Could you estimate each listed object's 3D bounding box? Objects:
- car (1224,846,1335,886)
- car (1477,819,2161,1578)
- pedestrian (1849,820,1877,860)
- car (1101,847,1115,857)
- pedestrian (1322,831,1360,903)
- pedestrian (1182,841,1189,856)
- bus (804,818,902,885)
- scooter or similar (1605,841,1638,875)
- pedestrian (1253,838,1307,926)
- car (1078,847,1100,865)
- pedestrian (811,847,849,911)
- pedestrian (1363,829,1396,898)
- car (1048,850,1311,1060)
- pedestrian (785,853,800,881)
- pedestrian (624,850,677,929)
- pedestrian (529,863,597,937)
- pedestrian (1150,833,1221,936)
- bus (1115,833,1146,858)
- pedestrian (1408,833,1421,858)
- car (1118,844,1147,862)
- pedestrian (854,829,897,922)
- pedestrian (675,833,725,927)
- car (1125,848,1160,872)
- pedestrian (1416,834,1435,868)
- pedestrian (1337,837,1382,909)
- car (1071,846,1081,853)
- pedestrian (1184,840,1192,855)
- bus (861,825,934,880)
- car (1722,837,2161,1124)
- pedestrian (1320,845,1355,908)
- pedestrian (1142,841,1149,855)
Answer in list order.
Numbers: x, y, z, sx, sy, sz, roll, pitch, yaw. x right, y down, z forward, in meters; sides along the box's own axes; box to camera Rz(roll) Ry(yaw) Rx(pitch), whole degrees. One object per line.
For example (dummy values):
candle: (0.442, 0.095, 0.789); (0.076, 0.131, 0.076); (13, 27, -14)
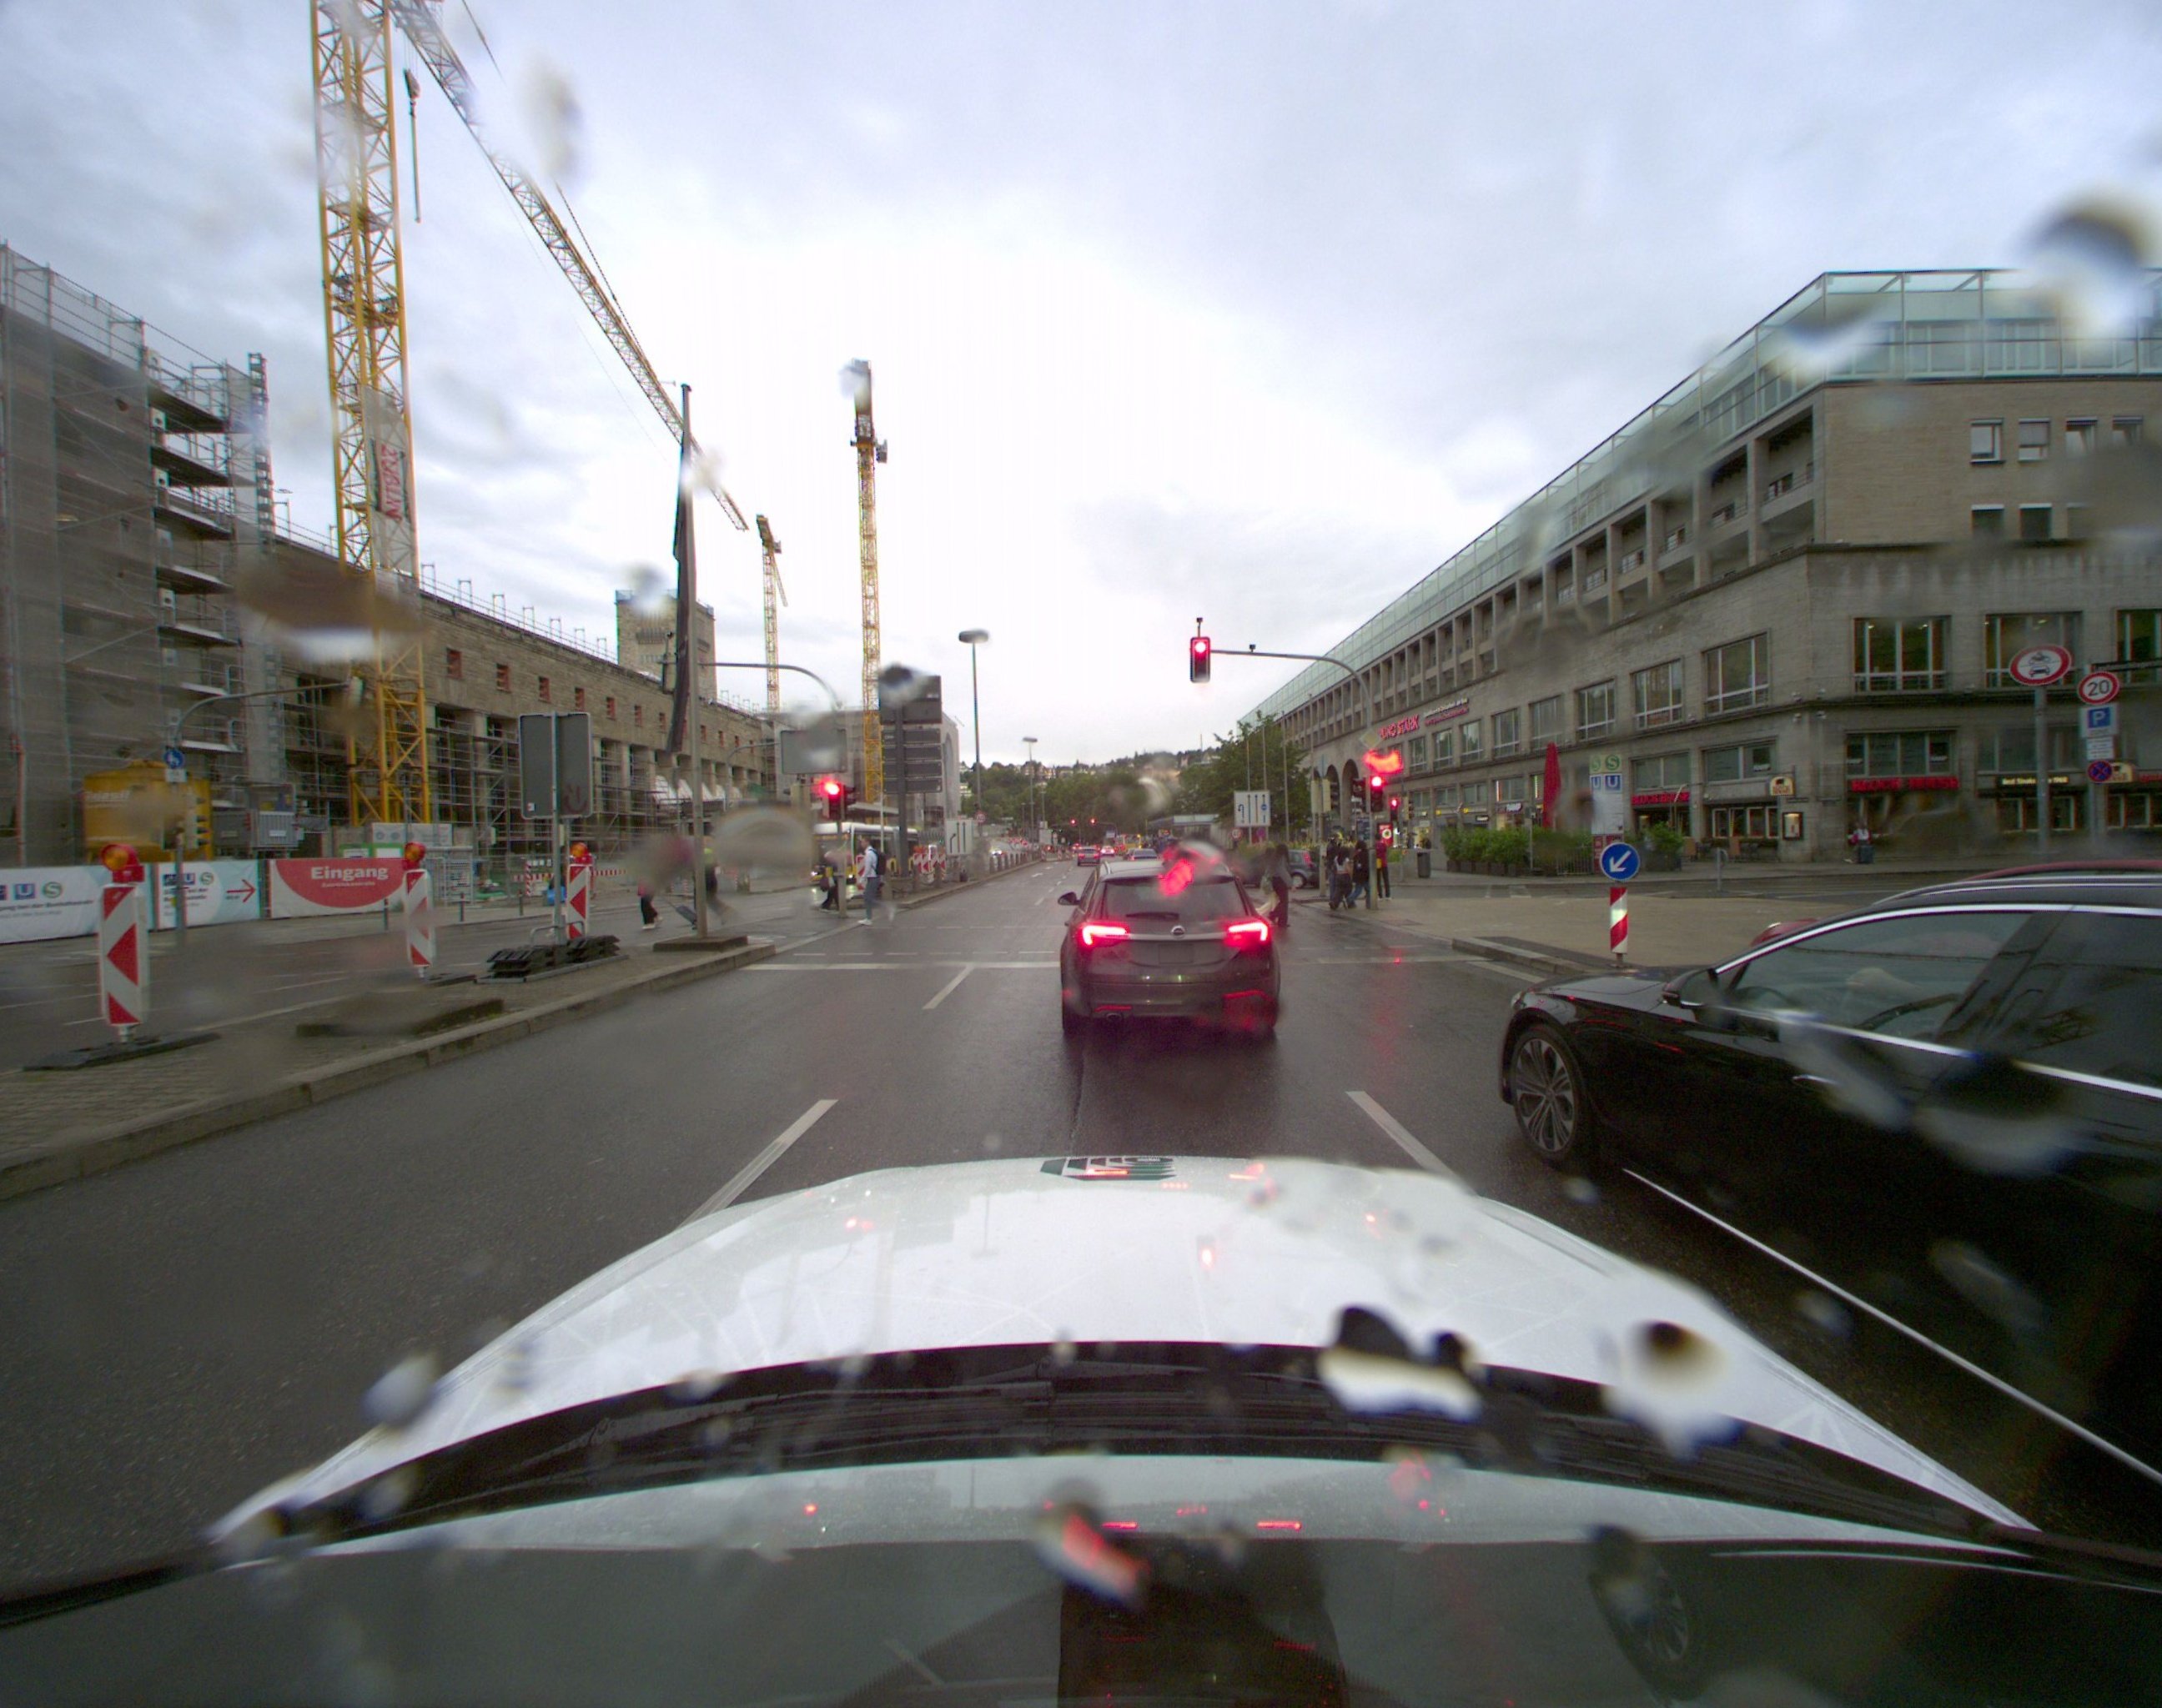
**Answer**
car: (7.424, 0.436, 30.630); (3.620, 1.398, 1.863); (-1, 0, 41)
car: (3.044, 0.679, 2.207); (1.787, 1.501, 4.629); (0, 0, 1)
pedestrian: (29.646, -0.525, 30.887); (0.750, 1.512, 0.721); (-1, -1, 43)
car: (3.723, -0.258, 110.828); (1.839, 1.398, 3.565); (0, 0, 2)
pedestrian: (6.266, 0.307, 19.671); (0.753, 1.717, 0.466); (0, -1, -2)
pedestrian: (12.226, -0.613, 95.207); (0.761, 1.690, 0.824); (0, -1, -3)
bus: (-13.389, -0.128, 48.919); (2.658, 3.602, 10.243); (0, 0, 2)
scooter or similar: (19.367, 0.150, 29.205); (0.290, 1.189, 1.014); (0, 0, -17)
pedestrian: (3.817, 0.522, 15.677); (0.791, 1.626, 0.899); (0, -1, -2)
car: (0.663, 0.186, 65.740); (1.747, 1.398, 4.538); (0, 0, 0)
pedestrian: (-6.219, 0.602, 20.156); (0.875, 1.561, 0.782); (0, -1, -20)
pedestrian: (7.786, 0.240, 21.218); (0.563, 1.752, 0.684); (-1, -1, 44)
car: (0.754, 0.730, 7.821); (1.868, 1.486, 4.001); (0, 0, 1)
pedestrian: (-19.785, 0.878, 55.906); (0.659, 1.855, 0.799); (-2, 0, 1)
pedestrian: (-9.764, 0.793, 18.505); (0.797, 1.717, 0.619); (-3, 0, -2)
pedestrian: (-11.292, 0.988, 17.770); (0.912, 1.563, 0.899); (0, -1, -2)
pedestrian: (1.855, 0.533, 14.552); (1.093, 1.751, 0.653); (-3, 0, -1)
bus: (7.213, -1.218, 121.021); (4.158, 3.469, 14.660); (0, 0, 2)
pedestrian: (27.066, -0.665, 66.089); (0.760, 2.014, 0.825); (0, -1, 1)
car: (4.156, -0.042, 66.542); (1.750, 1.398, 4.394); (0, 0, -5)
pedestrian: (-4.281, 0.439, 16.997); (0.798, 1.890, 0.618); (0, -1, -7)
pedestrian: (-7.611, 0.512, 16.289); (0.576, 1.836, 0.820); (0, -1, 2)
car: (3.730, 0.336, 49.841); (1.748, 1.398, 4.647); (0, 0, -1)
pedestrian: (20.681, -0.190, 48.899); (0.756, 2.014, 0.830); (-1, -1, 43)
pedestrian: (6.350, 0.425, 18.588); (0.797, 1.608, 0.619); (0, -1, -2)
car: (-0.905, -0.808, 150.366); (1.752, 1.398, 3.565); (0, 0, 2)
pedestrian: (12.384, -0.767, 94.107); (0.761, 1.690, 0.824); (0, -1, -3)
bus: (-13.068, -0.088, 59.103); (2.658, 3.602, 10.215); (0, 0, 2)
car: (6.534, 0.651, 4.902); (1.868, 1.486, 4.527); (0, 0, 1)
pedestrian: (6.014, 0.526, 19.109); (0.677, 1.474, 0.366); (0, -1, -3)
pedestrian: (11.163, -1.110, 141.608); (1.194, 2.435, 1.229); (0, -1, 3)
